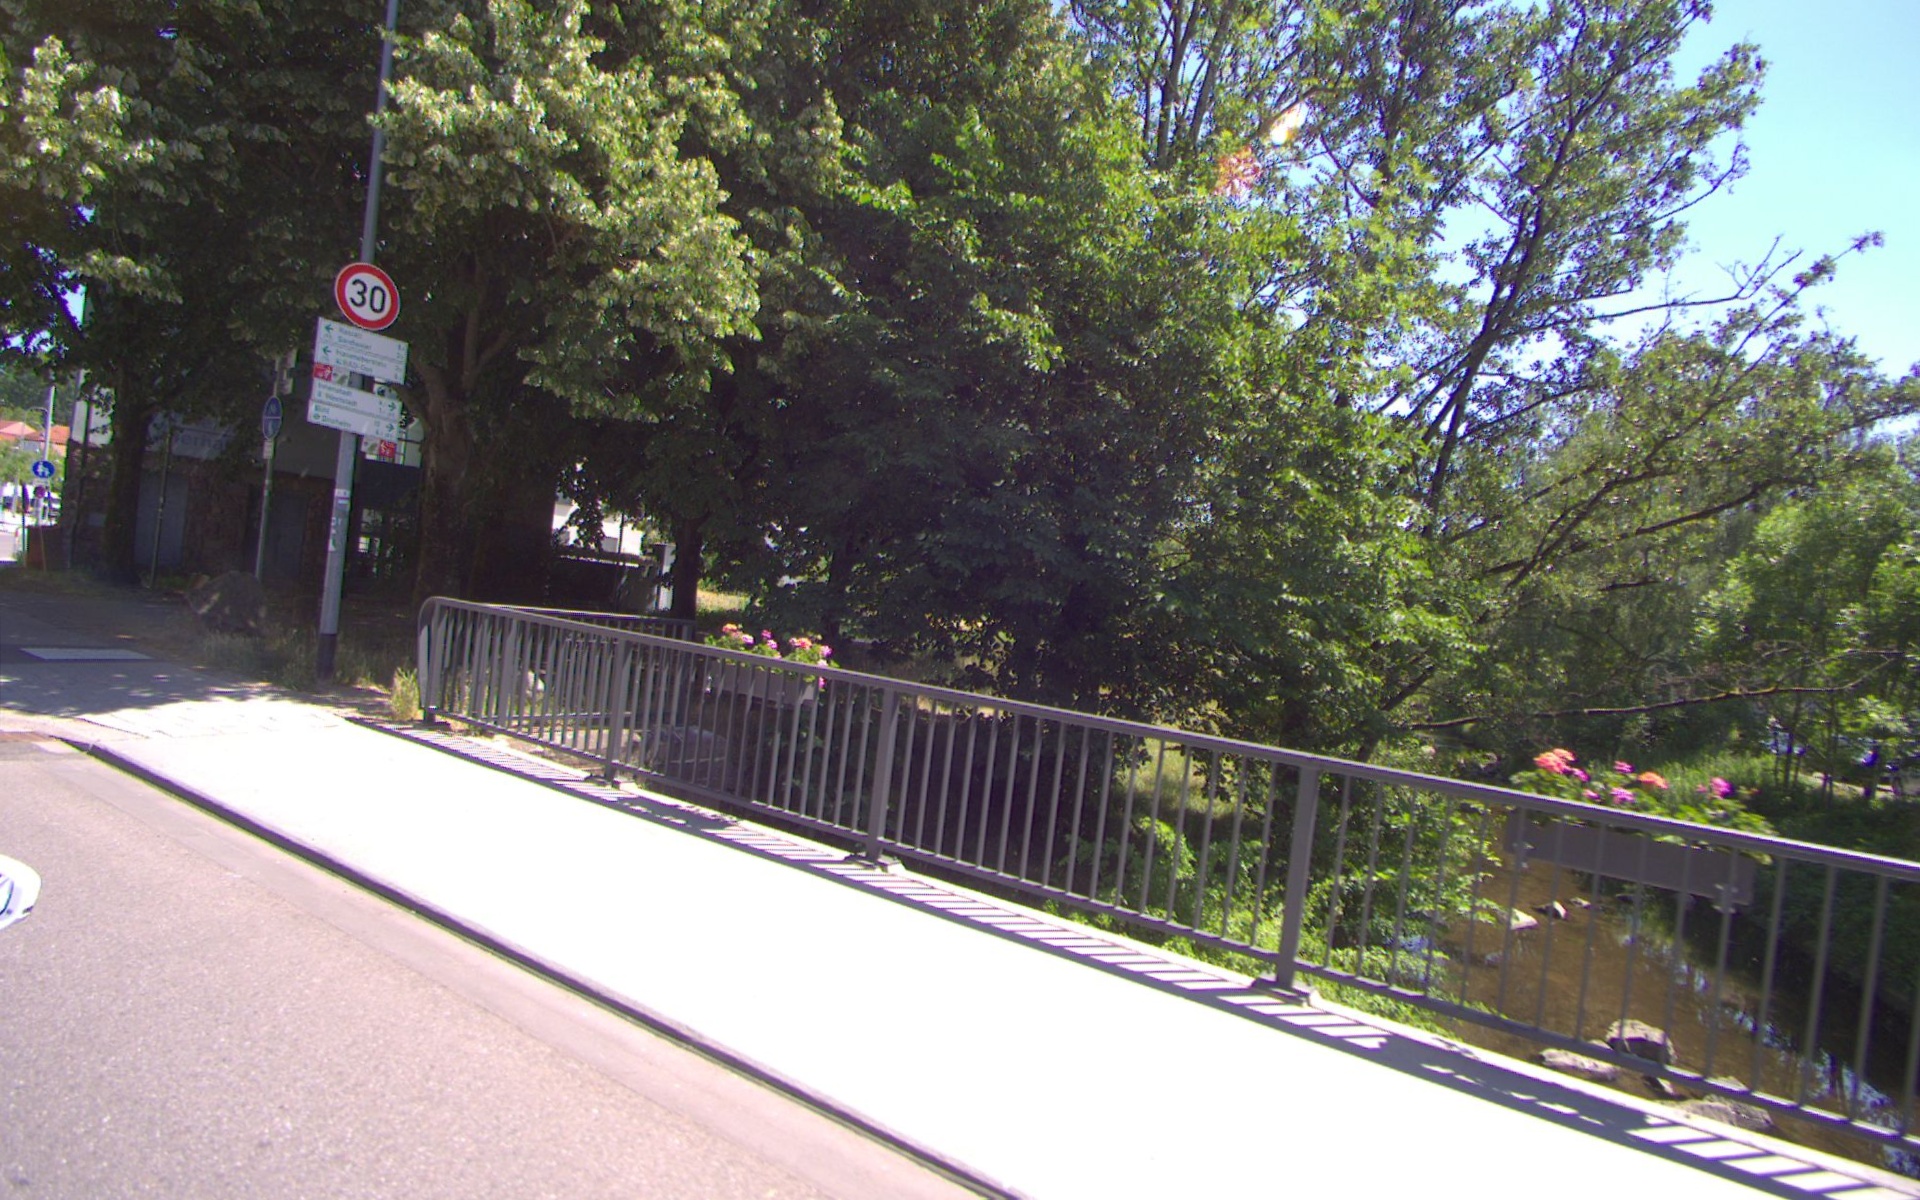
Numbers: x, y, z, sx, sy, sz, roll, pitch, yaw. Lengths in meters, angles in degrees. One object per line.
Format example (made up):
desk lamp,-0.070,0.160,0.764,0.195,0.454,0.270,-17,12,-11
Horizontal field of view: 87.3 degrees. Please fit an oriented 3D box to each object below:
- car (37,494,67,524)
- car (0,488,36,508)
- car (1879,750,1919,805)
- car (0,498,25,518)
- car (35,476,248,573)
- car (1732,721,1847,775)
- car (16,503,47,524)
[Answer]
car,-84.186,-8.461,93.257,1.861,2.430,4.759,6,0,-43
car,-127.828,-13.816,135.706,1.962,2.037,4.278,5,-3,14
car,27.820,5.161,27.852,1.874,1.397,4.514,7,-1,21
car,-100.848,-9.797,106.575,3.940,1.712,1.993,7,-1,38
car,-31.037,-2.774,38.465,5.900,2.765,2.177,7,-1,-33
car,31.983,5.660,38.942,1.963,1.518,4.515,8,-2,21
car,-91.338,-8.534,98.977,3.948,1.760,1.988,6,-1,44
